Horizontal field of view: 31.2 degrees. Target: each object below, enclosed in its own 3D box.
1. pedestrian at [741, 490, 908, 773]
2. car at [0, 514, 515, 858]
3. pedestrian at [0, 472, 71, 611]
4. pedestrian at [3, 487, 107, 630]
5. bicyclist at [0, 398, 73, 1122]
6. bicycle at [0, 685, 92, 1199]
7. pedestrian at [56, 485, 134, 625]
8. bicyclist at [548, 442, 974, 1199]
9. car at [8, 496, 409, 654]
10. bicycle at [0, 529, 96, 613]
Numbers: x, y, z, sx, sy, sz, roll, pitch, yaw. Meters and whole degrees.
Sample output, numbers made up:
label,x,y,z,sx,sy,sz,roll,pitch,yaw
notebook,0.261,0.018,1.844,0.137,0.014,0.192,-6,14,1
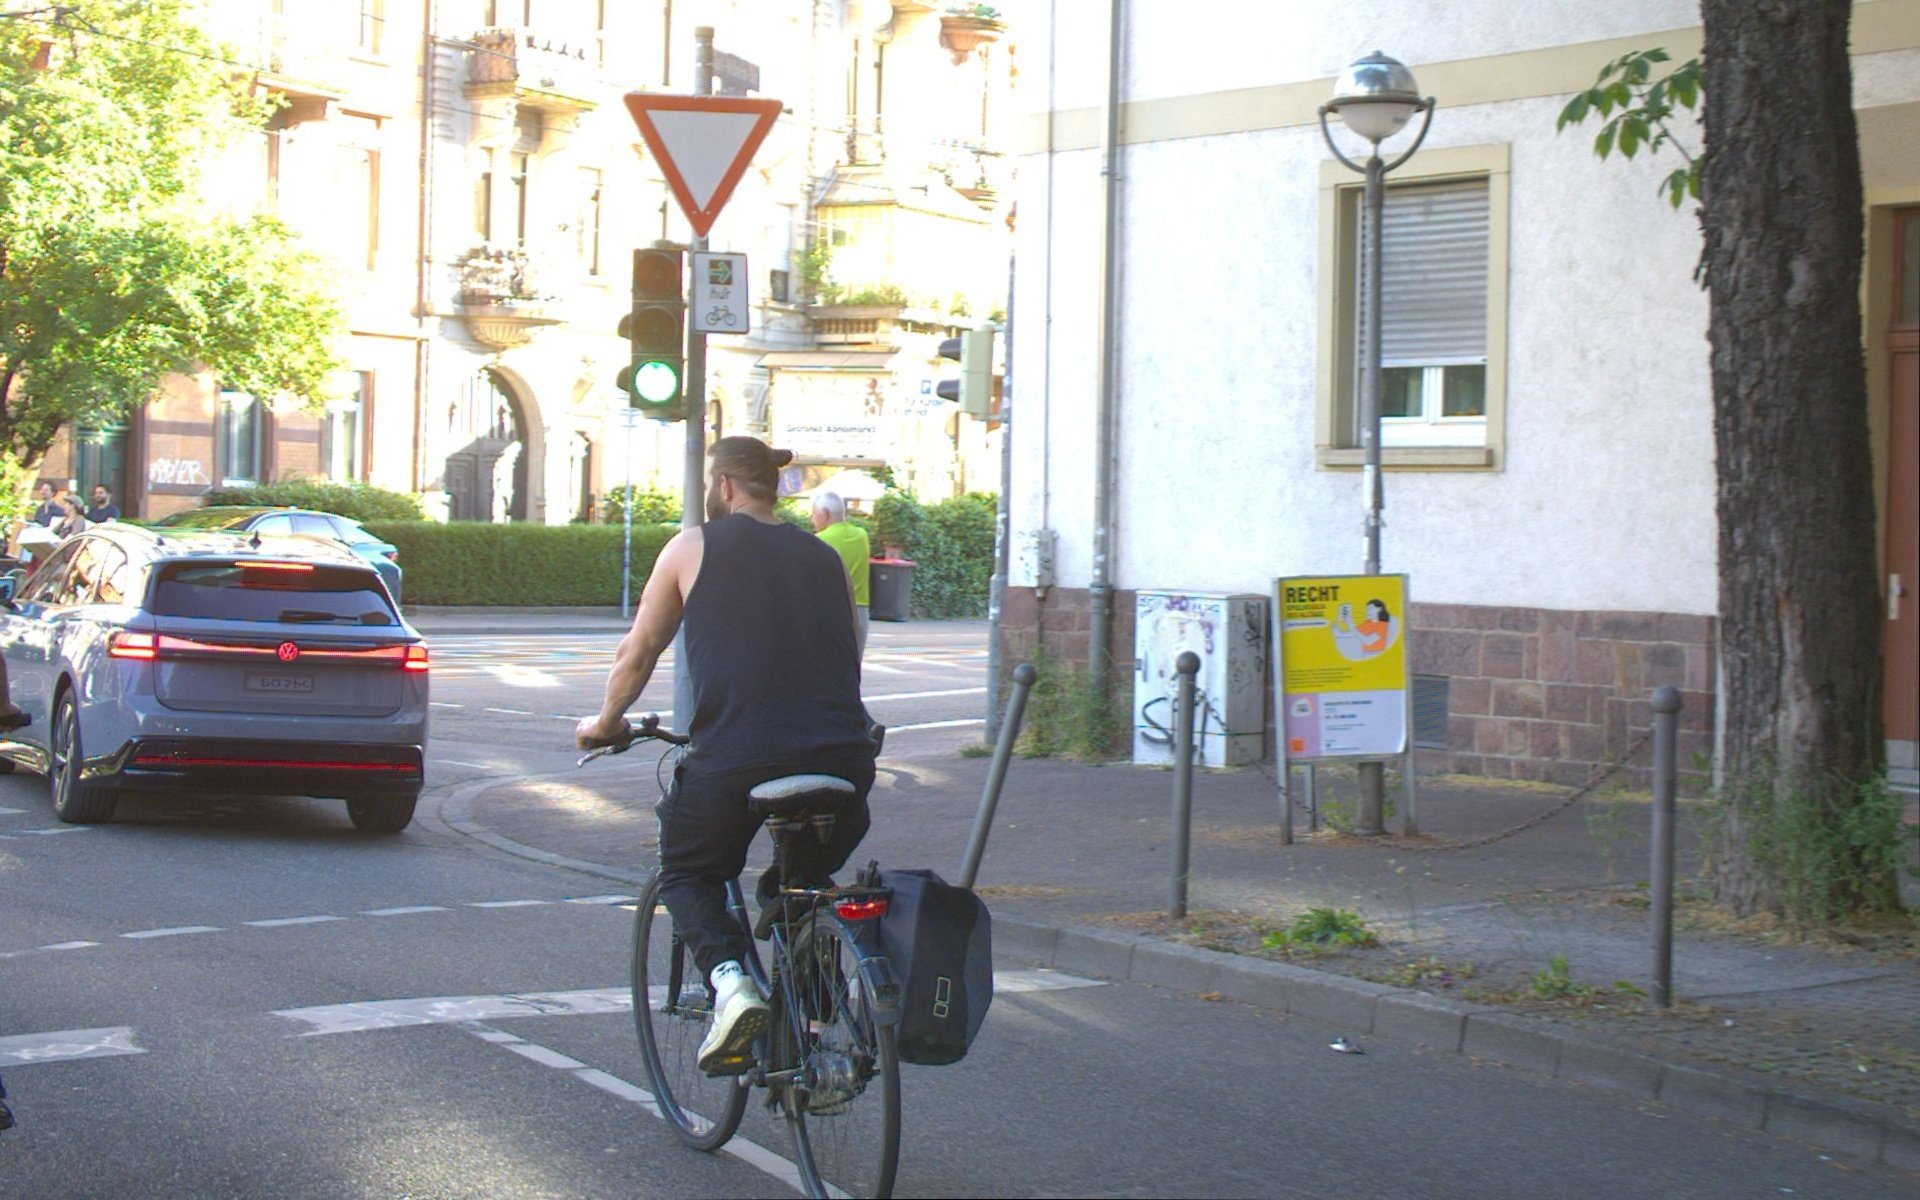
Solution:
label,x,y,z,sx,sy,sz,roll,pitch,yaw
pedestrian,-0.855,0.180,21.540,0.643,1.721,0.888,-2,2,-34
car,-4.174,0.386,18.914,1.970,1.580,4.476,3,0,-27
pedestrian,-11.520,-0.730,42.849,0.521,1.709,0.635,2,1,43
pedestrian,-10.866,-0.495,41.290,0.896,1.659,0.712,1,4,-43
bicyclist,-2.434,0.339,7.642,0.706,1.568,0.957,2,1,-5
bicycle,-2.462,0.783,7.679,0.717,1.103,1.967,2,1,-6
pedestrian,-10.726,-0.553,42.628,0.663,1.709,0.635,2,1,43
bicyclist,-0.474,0.483,7.803,0.686,1.650,0.990,0,1,-21
car,-8.396,-0.286,38.791,1.945,1.644,4.403,2,1,30
bicycle,-11.673,-0.371,43.871,0.442,1.035,1.231,3,2,34
